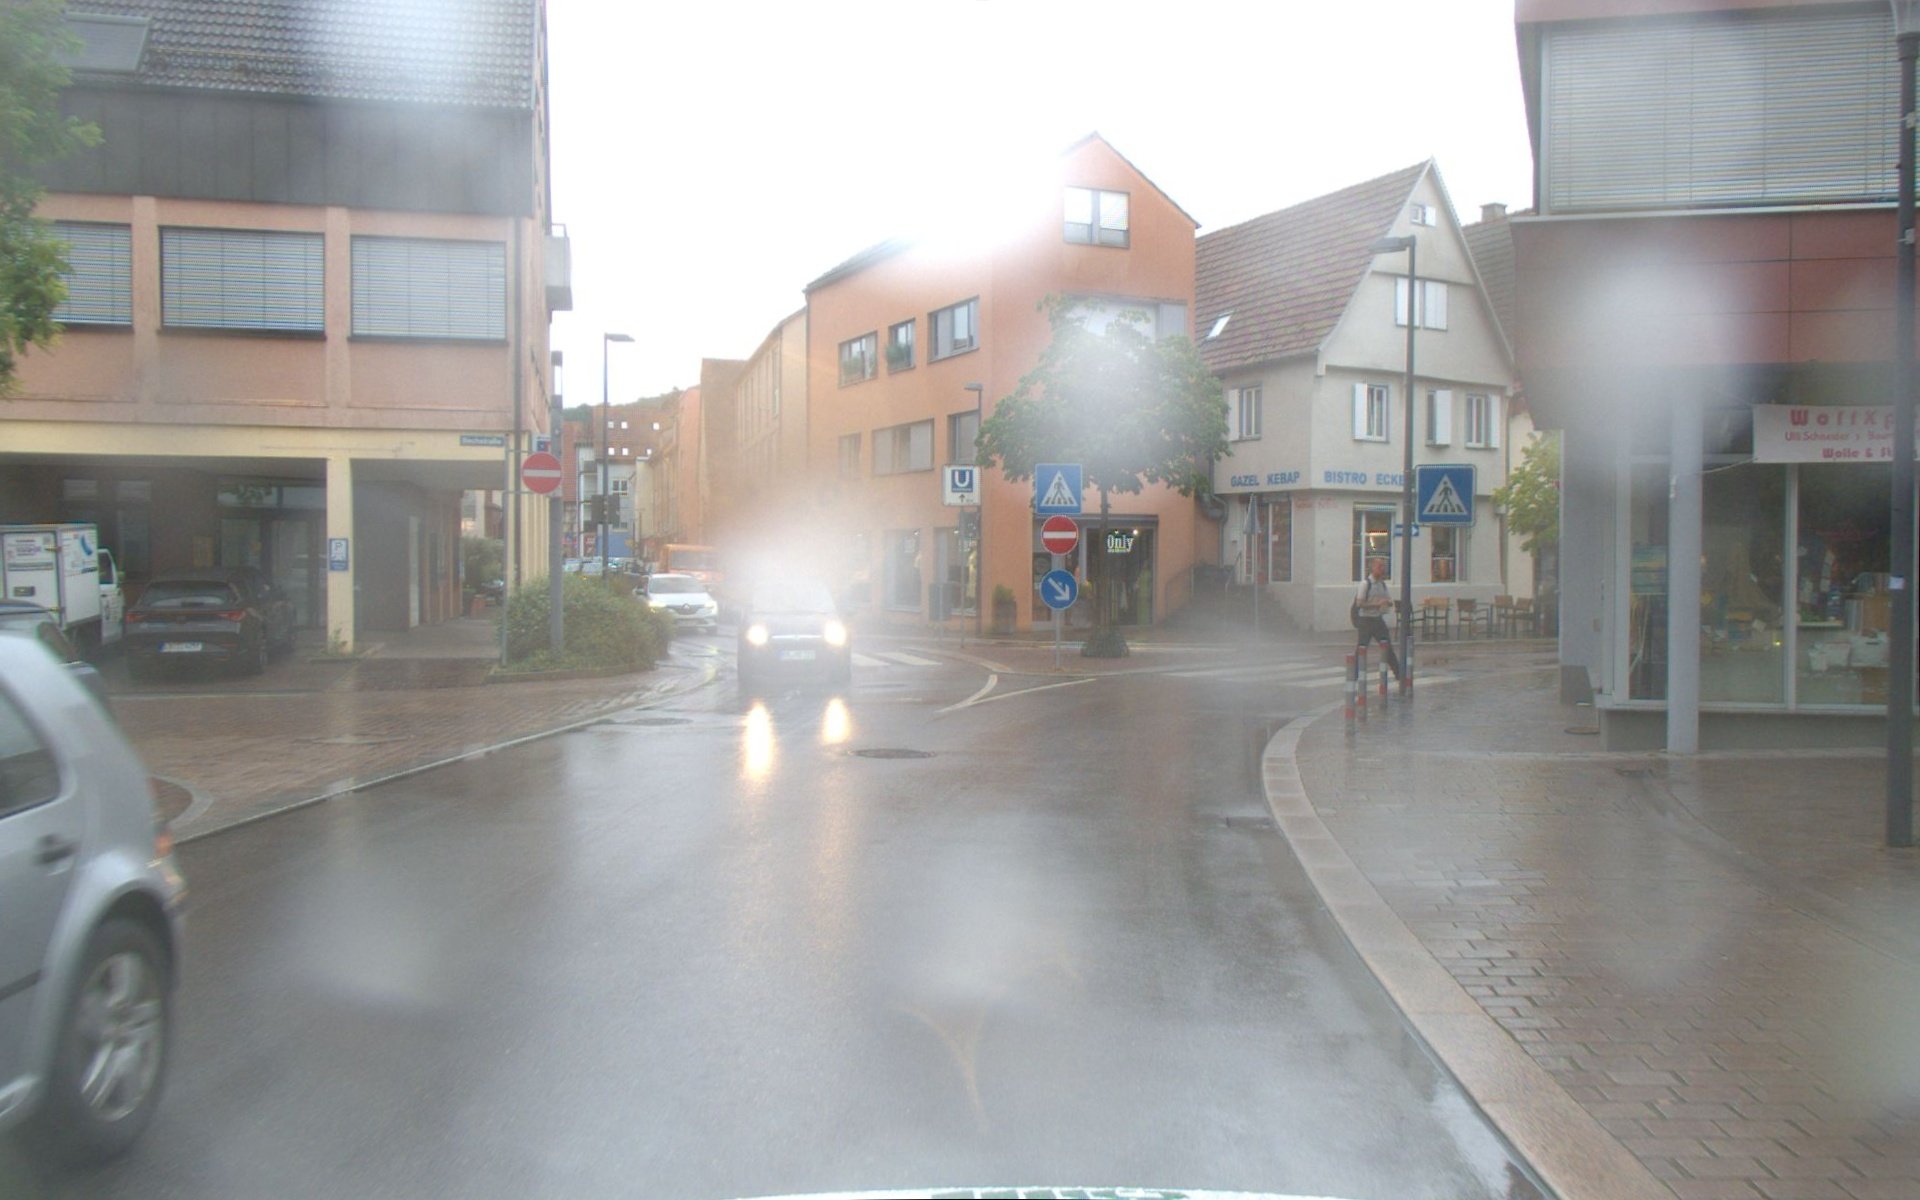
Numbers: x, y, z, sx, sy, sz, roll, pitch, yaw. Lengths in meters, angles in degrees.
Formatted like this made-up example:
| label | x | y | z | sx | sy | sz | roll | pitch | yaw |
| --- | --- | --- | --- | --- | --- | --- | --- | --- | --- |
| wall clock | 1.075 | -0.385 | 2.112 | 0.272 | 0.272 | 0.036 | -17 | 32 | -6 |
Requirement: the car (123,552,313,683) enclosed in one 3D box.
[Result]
| label | x | y | z | sx | sy | sz | roll | pitch | yaw |
| --- | --- | --- | --- | --- | --- | --- | --- | --- | --- |
| car | -10.631 | 0.178 | 23.969 | 1.549 | 1.504 | 3.817 | 0 | 5 | -10 |

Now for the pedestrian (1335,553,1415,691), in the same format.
| label | x | y | z | sx | sy | sz | roll | pitch | yaw |
| --- | --- | --- | --- | --- | --- | --- | --- | --- | --- |
| pedestrian | 6.029 | 0.305 | 24.036 | 0.751 | 1.948 | 0.851 | 0 | 1 | -40 |

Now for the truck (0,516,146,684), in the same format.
| label | x | y | z | sx | sy | sz | roll | pitch | yaw |
| --- | --- | --- | --- | --- | --- | --- | --- | --- | --- |
| truck | -13.018 | -0.072 | 23.642 | 1.568 | 2.097 | 3.186 | -2 | 5 | -11 |

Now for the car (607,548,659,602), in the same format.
| label | x | y | z | sx | sy | sz | roll | pitch | yaw |
| --- | --- | --- | --- | --- | --- | --- | --- | --- | --- |
| car | -14.060 | -1.057 | 71.298 | 2.066 | 2.183 | 4.855 | -2 | 1 | -10 |

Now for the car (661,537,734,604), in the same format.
| label | x | y | z | sx | sy | sz | roll | pitch | yaw |
| --- | --- | --- | --- | --- | --- | --- | --- | --- | --- |
| car | -9.252 | -1.019 | 57.974 | 2.068 | 2.183 | 4.849 | -2 | 1 | -14 |

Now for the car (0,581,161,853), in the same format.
| label | x | y | z | sx | sy | sz | roll | pitch | yaw |
| --- | --- | --- | --- | --- | --- | --- | --- | --- | --- |
| car | -6.153 | 0.648 | 9.063 | 1.680 | 1.483 | 3.909 | 1 | 1 | -1 |

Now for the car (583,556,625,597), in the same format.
| label | x | y | z | sx | sy | sz | roll | pitch | yaw |
| --- | --- | --- | --- | --- | --- | --- | --- | --- | --- |
| car | -18.954 | -1.231 | 88.173 | 1.958 | 2.048 | 4.352 | -2 | 1 | -11 |

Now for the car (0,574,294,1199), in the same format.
| label | x | y | z | sx | sy | sz | roll | pitch | yaw |
| --- | --- | --- | --- | --- | --- | --- | --- | --- | --- |
| car | -2.872 | 0.710 | 2.925 | 1.754 | 1.442 | 4.028 | -2 | 1 | -1 |

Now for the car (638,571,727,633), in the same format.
| label | x | y | z | sx | sy | sz | roll | pitch | yaw |
| --- | --- | --- | --- | --- | --- | --- | --- | --- | --- |
| car | -7.108 | 0.015 | 42.107 | 1.959 | 1.466 | 4.150 | 0 | 1 | -13 |

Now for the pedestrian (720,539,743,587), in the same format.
| label | x | y | z | sx | sy | sz | roll | pitch | yaw |
| --- | --- | --- | --- | --- | --- | --- | --- | --- | --- |
| pedestrian | -9.672 | -1.570 | 70.044 | 0.852 | 2.049 | 0.704 | 0 | 1 | -17 |

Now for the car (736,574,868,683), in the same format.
| label | x | y | z | sx | sy | sz | roll | pitch | yaw |
| --- | --- | --- | --- | --- | --- | --- | --- | --- | --- |
| car | -2.312 | 0.360 | 25.019 | 1.615 | 1.471 | 3.984 | -1 | 1 | 0 |

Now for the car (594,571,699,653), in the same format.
| label | x | y | z | sx | sy | sz | roll | pitch | yaw |
| --- | --- | --- | --- | --- | --- | --- | --- | --- | --- |
| car | -6.168 | 0.188 | 32.282 | 1.686 | 1.483 | 3.894 | 1 | 1 | -15 |
